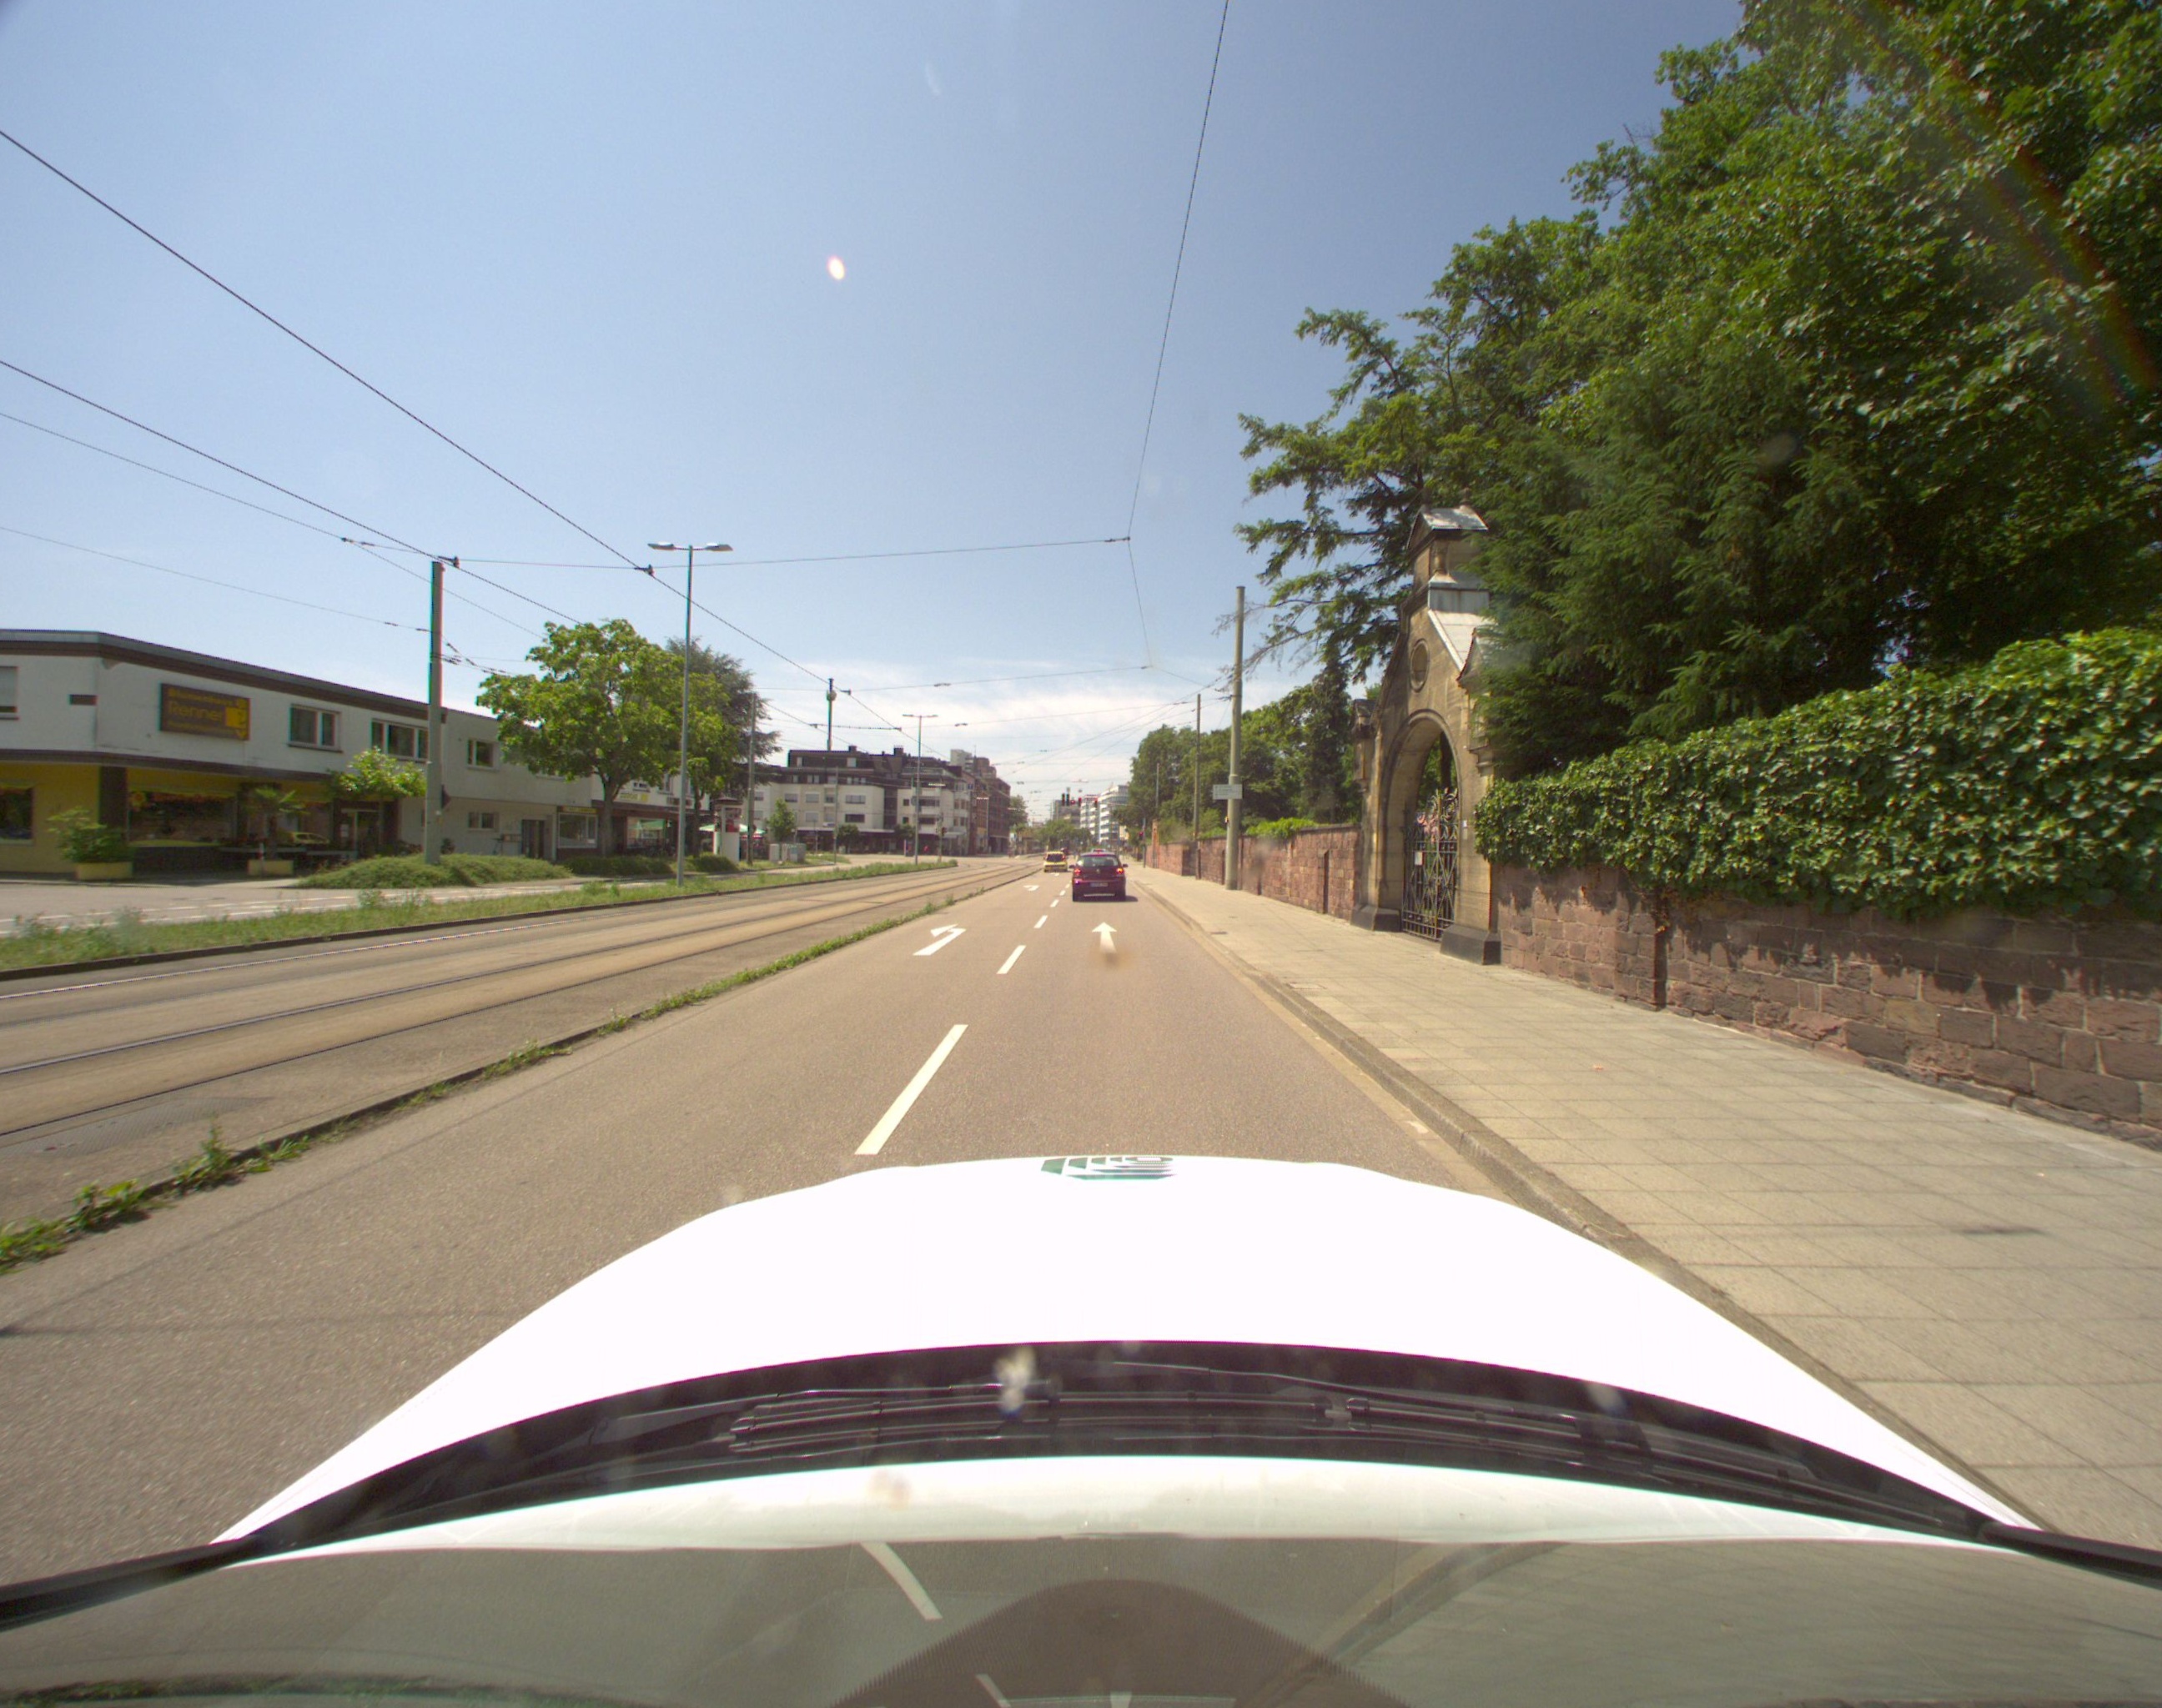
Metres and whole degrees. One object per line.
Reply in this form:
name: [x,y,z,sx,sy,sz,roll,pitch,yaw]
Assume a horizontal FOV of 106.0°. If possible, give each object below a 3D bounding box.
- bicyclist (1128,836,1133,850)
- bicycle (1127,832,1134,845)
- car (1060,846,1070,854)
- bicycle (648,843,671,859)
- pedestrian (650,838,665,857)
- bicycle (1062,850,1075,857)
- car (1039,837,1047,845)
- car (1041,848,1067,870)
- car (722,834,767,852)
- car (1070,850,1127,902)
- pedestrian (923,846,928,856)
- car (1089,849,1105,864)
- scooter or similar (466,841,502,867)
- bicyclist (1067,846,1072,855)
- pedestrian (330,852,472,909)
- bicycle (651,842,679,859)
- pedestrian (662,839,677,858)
bicyclist: [6.514,-1.462,107.220,0.719,1.818,0.889,0,-1,1]
bicycle: [6.514,-2.047,107.609,0.832,1.525,4.001,0,0,1]
car: [-3.384,-0.820,170.751,1.931,1.641,4.000,0,0,1]
bicycle: [-26.421,-0.195,51.085,0.536,0.979,1.759,0,0,1]
pedestrian: [-28.713,-0.435,55.191,0.587,1.268,0.842,0,0,1]
bicycle: [-1.913,-0.029,123.972,1.861,1.008,0.578,0,-1,-4]
car: [-9.586,-3.288,208.173,1.729,2.013,4.001,1,1,1]
car: [-1.928,0.342,58.631,1.717,1.444,3.293,-1,1,1]
car: [-44.735,-1.433,108.379,5.049,2.341,2.244,0,0,-1]
car: [0.528,0.617,25.563,1.604,1.463,4.086,-1,0,1]
pedestrian: [-23.168,-0.436,121.137,0.541,1.541,0.479,0,-1,-45]
car: [1.567,0.271,81.772,1.567,1.415,3.720,-1,0,1]
scooter or similar: [-28.367,0.003,38.721,0.450,1.191,1.352,0,0,21]
bicyclist: [-1.794,-0.526,124.006,0.764,1.406,0.506,0,-1,-3]
pedestrian: [-25.751,0.955,31.046,1.987,2.014,4.000,0,0,1]
bicycle: [-25.192,-0.211,49.357,0.608,0.979,2.030,0,0,1]
pedestrian: [-27.951,-0.342,55.343,0.587,1.268,0.842,0,0,1]
